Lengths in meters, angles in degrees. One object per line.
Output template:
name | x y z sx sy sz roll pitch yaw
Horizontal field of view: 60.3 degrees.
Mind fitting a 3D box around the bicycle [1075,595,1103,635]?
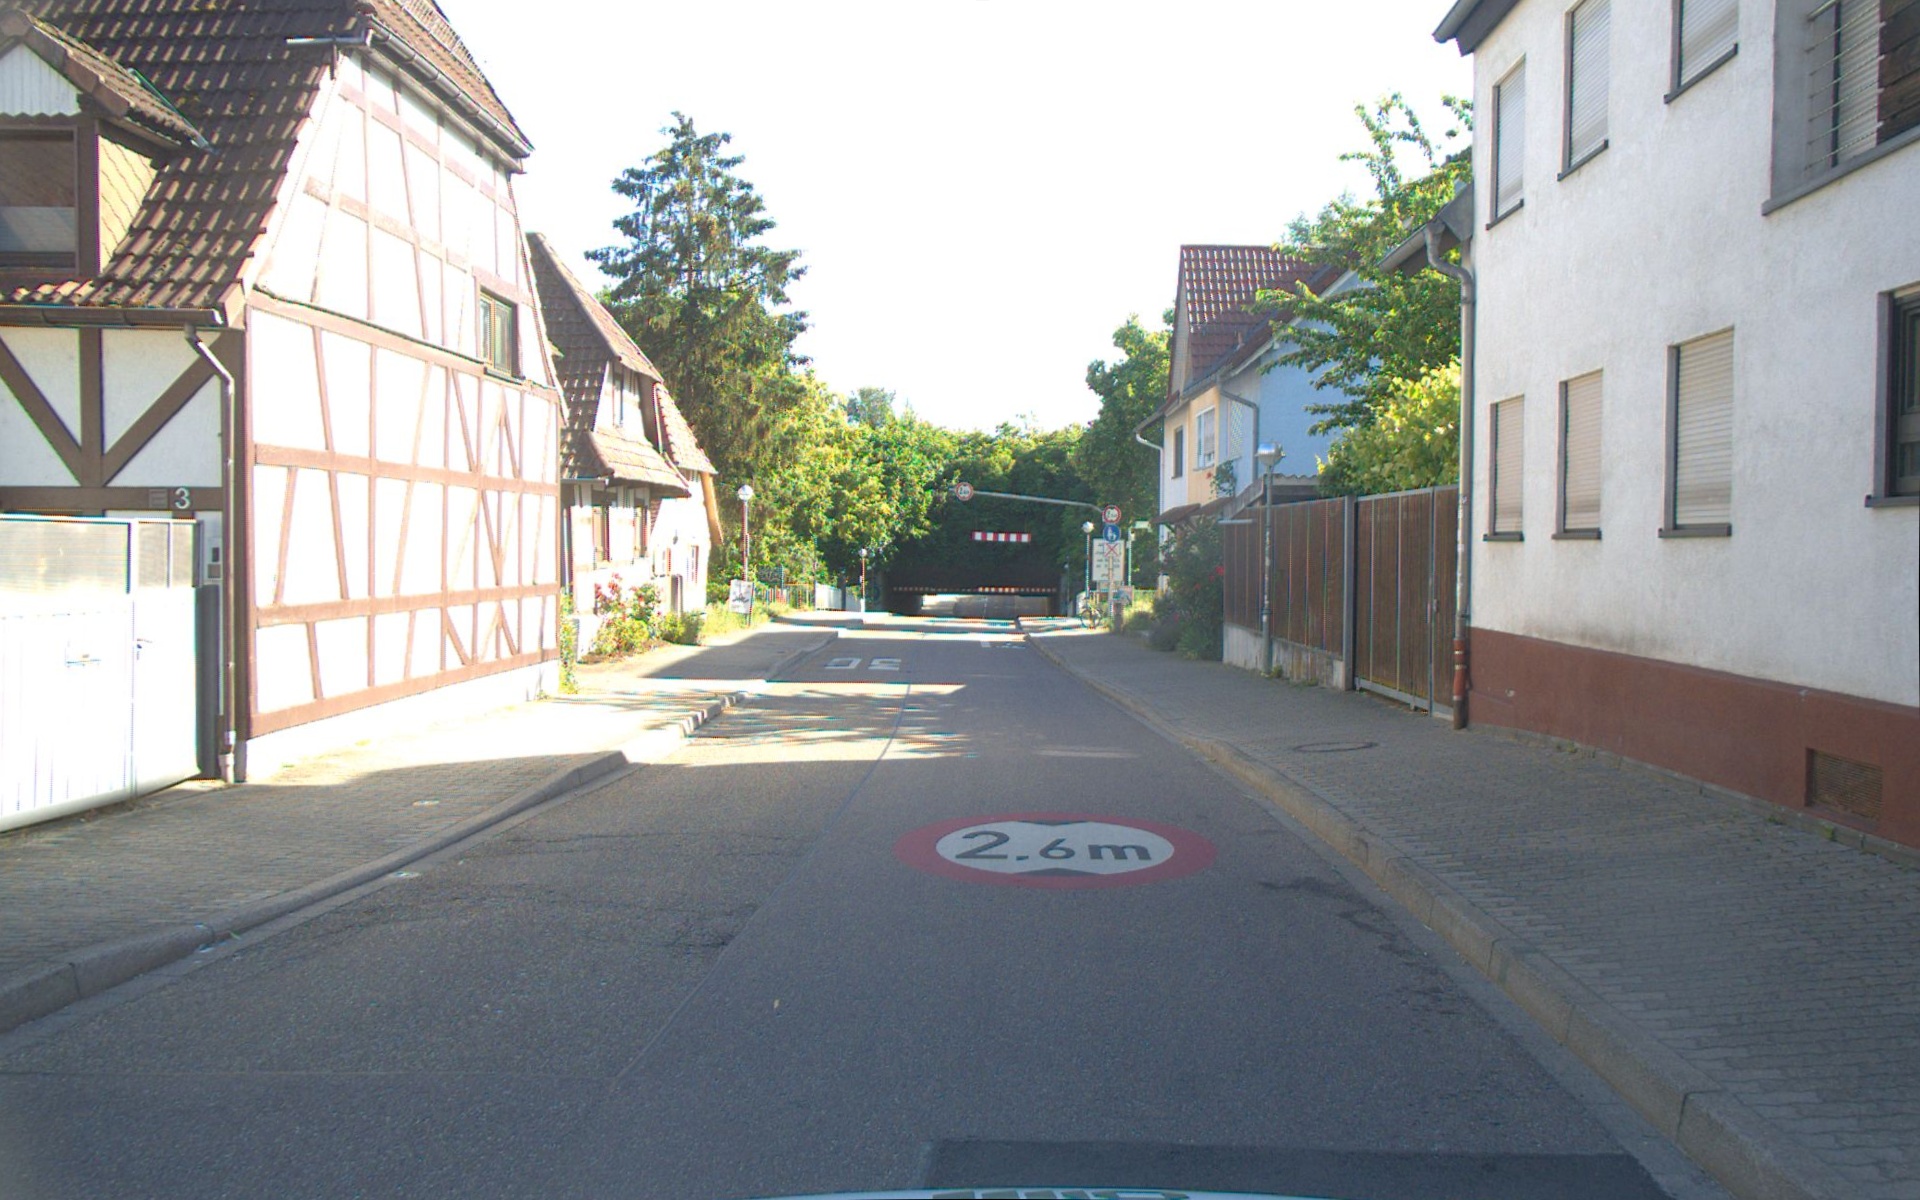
bicycle | 4.074 0.469 52.142 0.675 1.177 1.539 -4 1 0
